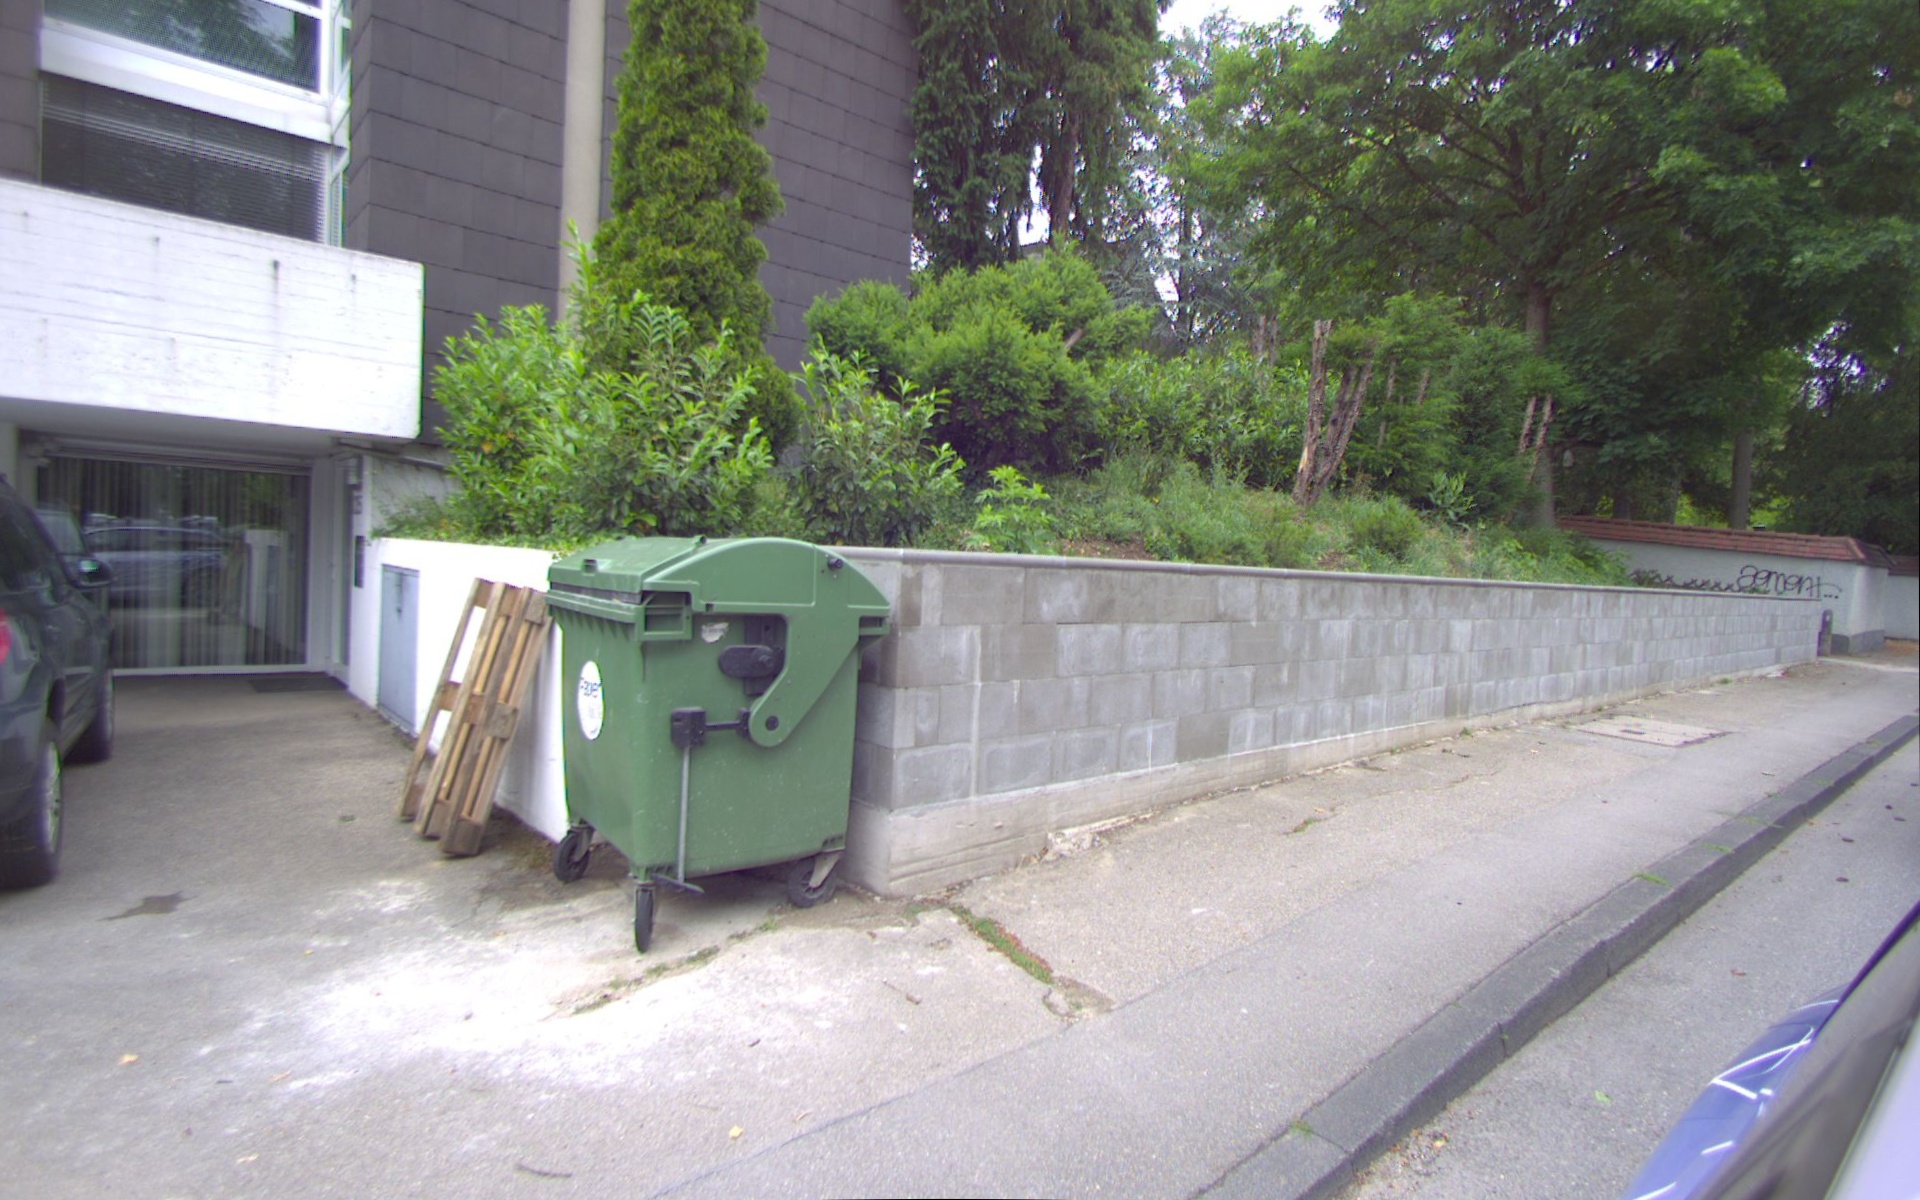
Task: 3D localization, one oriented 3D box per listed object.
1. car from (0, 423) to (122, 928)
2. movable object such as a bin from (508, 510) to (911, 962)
[{"bbox_3d":[-4.937,0.133,4.442,1.712,1.671,3.914,0,4,-36],"label":"car"},{"bbox_3d":[-1.072,0.402,4.168,1.096,1.469,1.407,0,3,-40],"label":"movable object such as a bin"}]
